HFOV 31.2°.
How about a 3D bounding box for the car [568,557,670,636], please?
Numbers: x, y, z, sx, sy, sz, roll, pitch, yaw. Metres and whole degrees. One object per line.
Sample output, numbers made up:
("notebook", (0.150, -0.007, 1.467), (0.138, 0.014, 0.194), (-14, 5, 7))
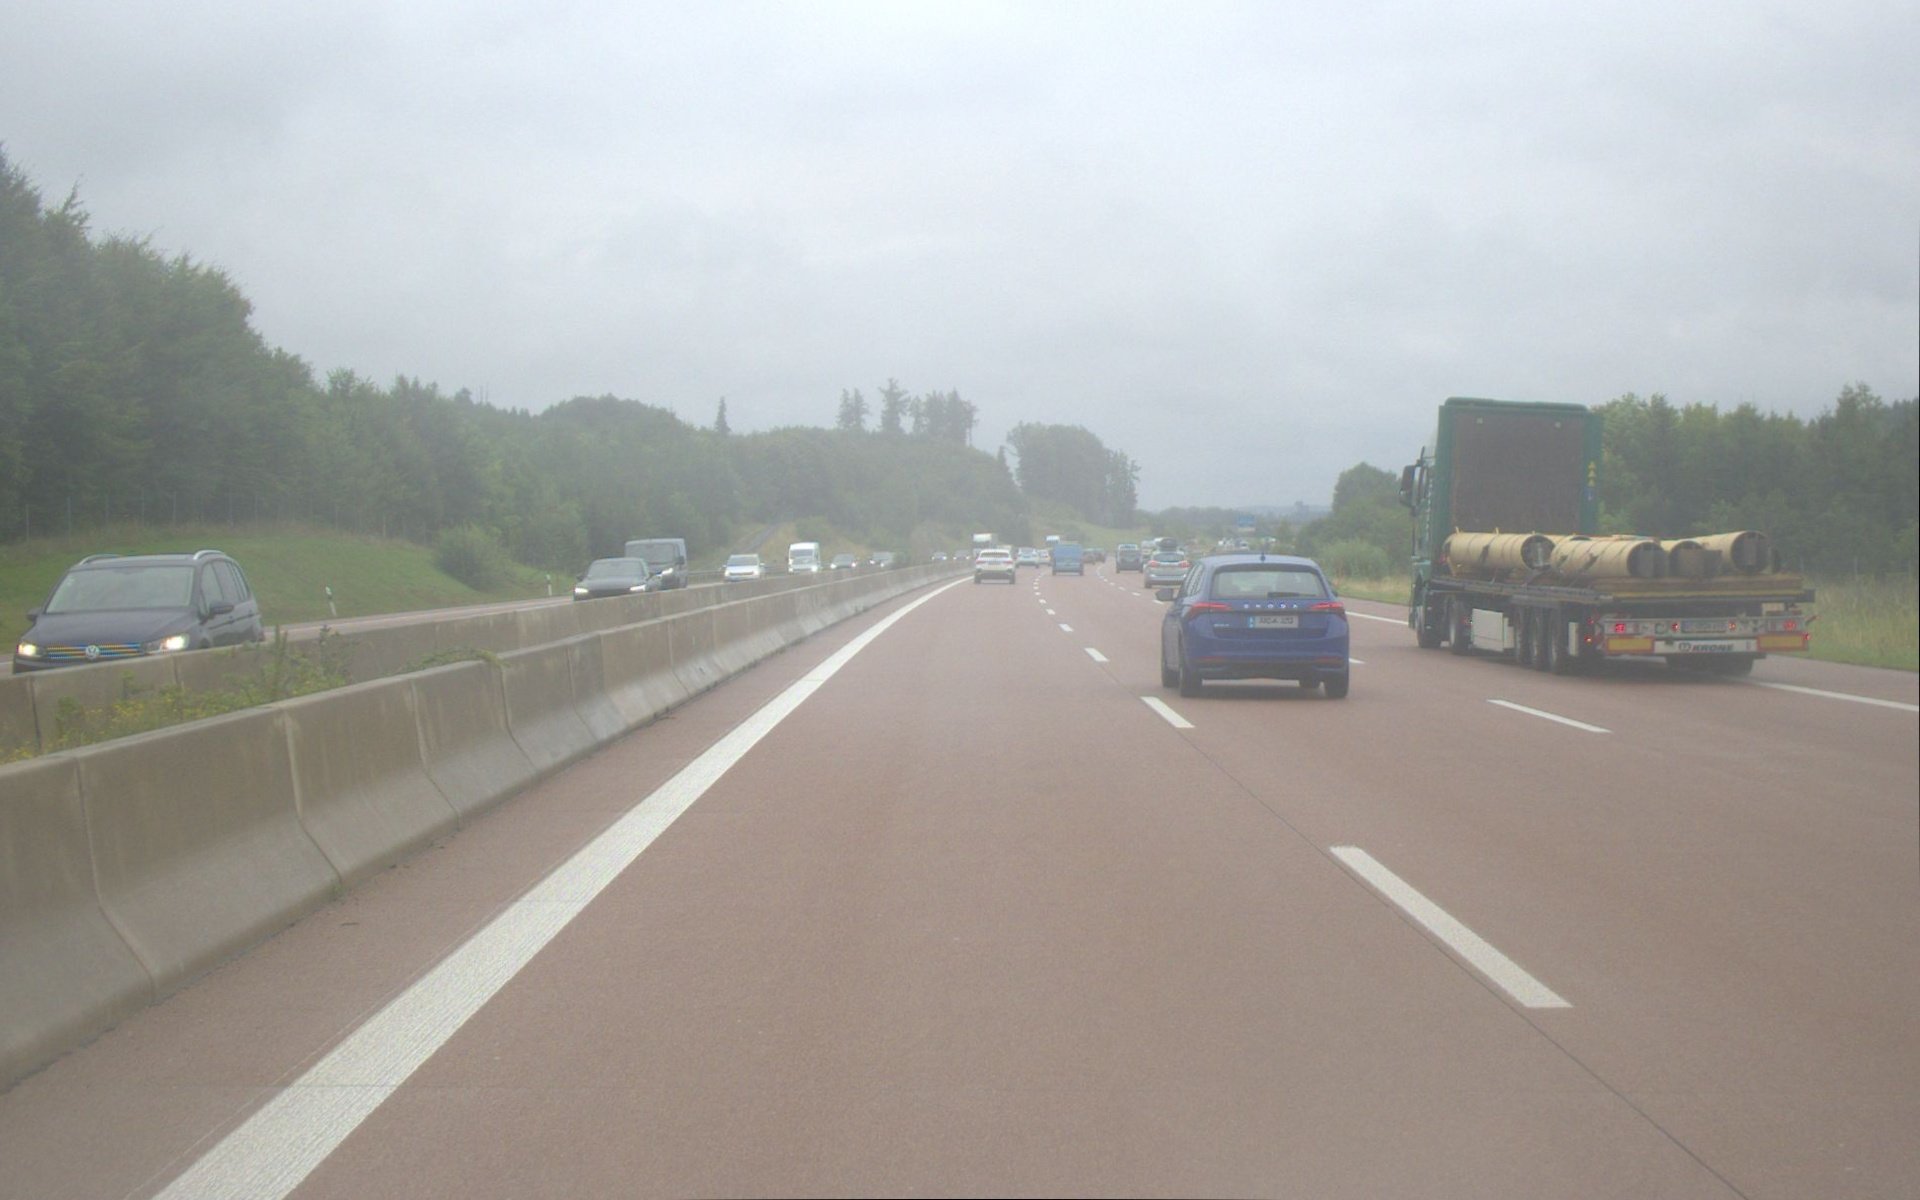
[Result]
("car", (-8.379, -0.068, 84.824), (1.776, 1.850, 5.321), (1, 0, 2))

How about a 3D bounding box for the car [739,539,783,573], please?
("car", (-9.697, -2.155, 167.932), (1.788, 1.551, 4.866), (-2, 1, 0))

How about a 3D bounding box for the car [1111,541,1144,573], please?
("car", (11.033, -2.794, 226.192), (1.993, 2.007, 4.000), (1, 0, 0))

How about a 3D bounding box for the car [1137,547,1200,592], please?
("car", (8.485, -1.229, 140.509), (2.322, 1.744, 4.877), (1, 0, 1))

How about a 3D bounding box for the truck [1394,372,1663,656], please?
("truck", (8.452, -1.198, 51.922), (2.897, 3.951, 6.988), (1, 0, 0))

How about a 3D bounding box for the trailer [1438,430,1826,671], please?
("trailer", (8.356, -0.533, 44.399), (2.881, 2.666, 11.398), (1, 0, 1))

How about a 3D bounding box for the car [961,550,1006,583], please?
("car", (1.043, -1.501, 155.268), (1.874, 1.439, 4.877), (1, 0, -2))

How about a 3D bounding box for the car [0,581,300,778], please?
("car", (-8.328, 0.763, 35.657), (1.818, 1.835, 6.238), (1, 0, -1))

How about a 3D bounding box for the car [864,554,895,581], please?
("car", (-5.291, -2.107, 225.342), (1.857, 1.701, 6.164), (1, 0, 0))

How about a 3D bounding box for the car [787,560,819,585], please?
("car", (-9.516, -1.670, 208.662), (1.649, 1.385, 4.811), (-3, 1, 0))

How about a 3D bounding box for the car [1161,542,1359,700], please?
("car", (3.122, 0.220, 36.459), (1.771, 1.559, 4.146), (1, 0, 1))

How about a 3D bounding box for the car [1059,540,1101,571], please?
("car", (7.119, -2.646, 204.063), (2.322, 1.744, 4.877), (1, 0, 1))
